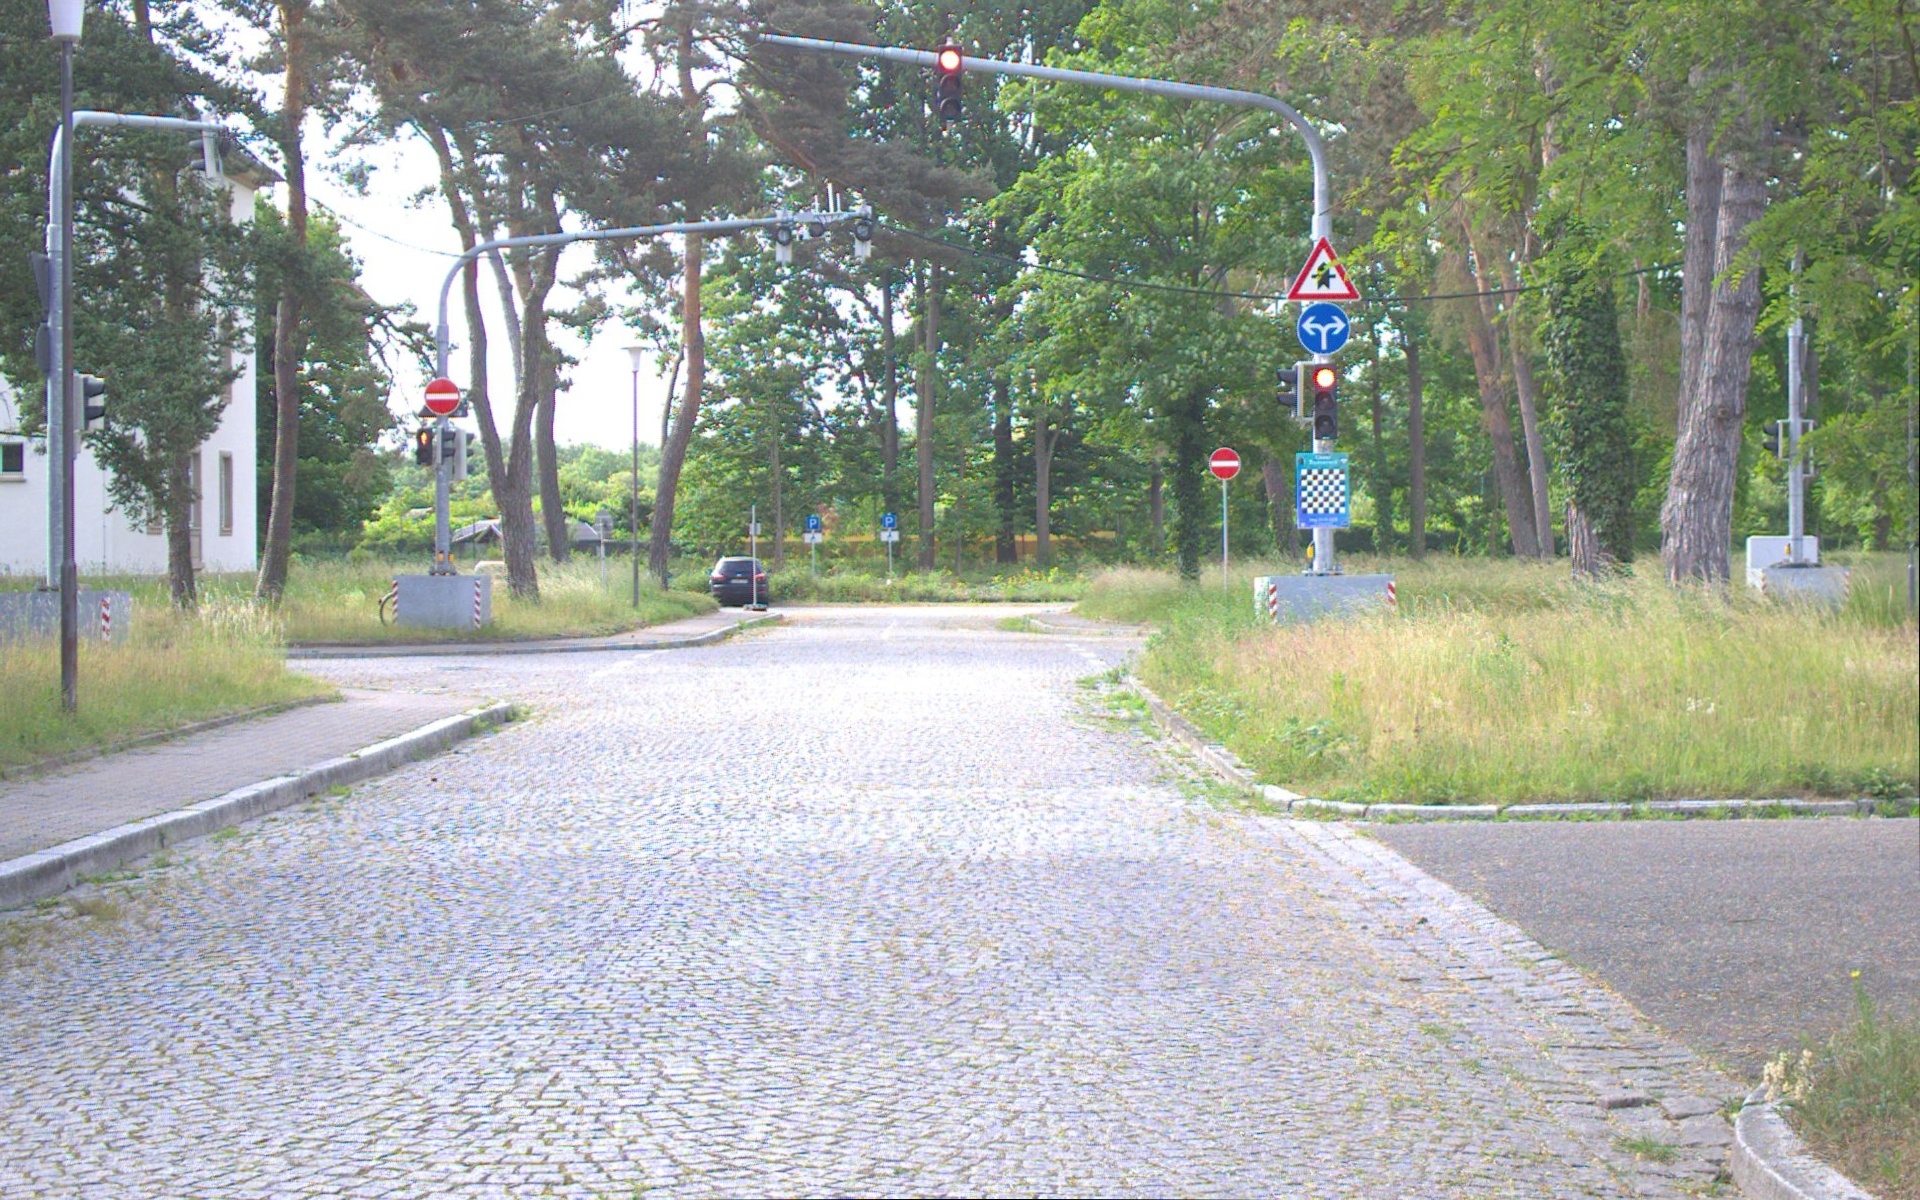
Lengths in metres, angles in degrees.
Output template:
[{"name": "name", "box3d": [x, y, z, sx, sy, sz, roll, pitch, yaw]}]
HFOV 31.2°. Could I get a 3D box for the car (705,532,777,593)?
[{"name": "car", "box3d": [-6.780, -1.179, 106.793, 2.056, 1.840, 4.000, 0, 1, -1]}]
